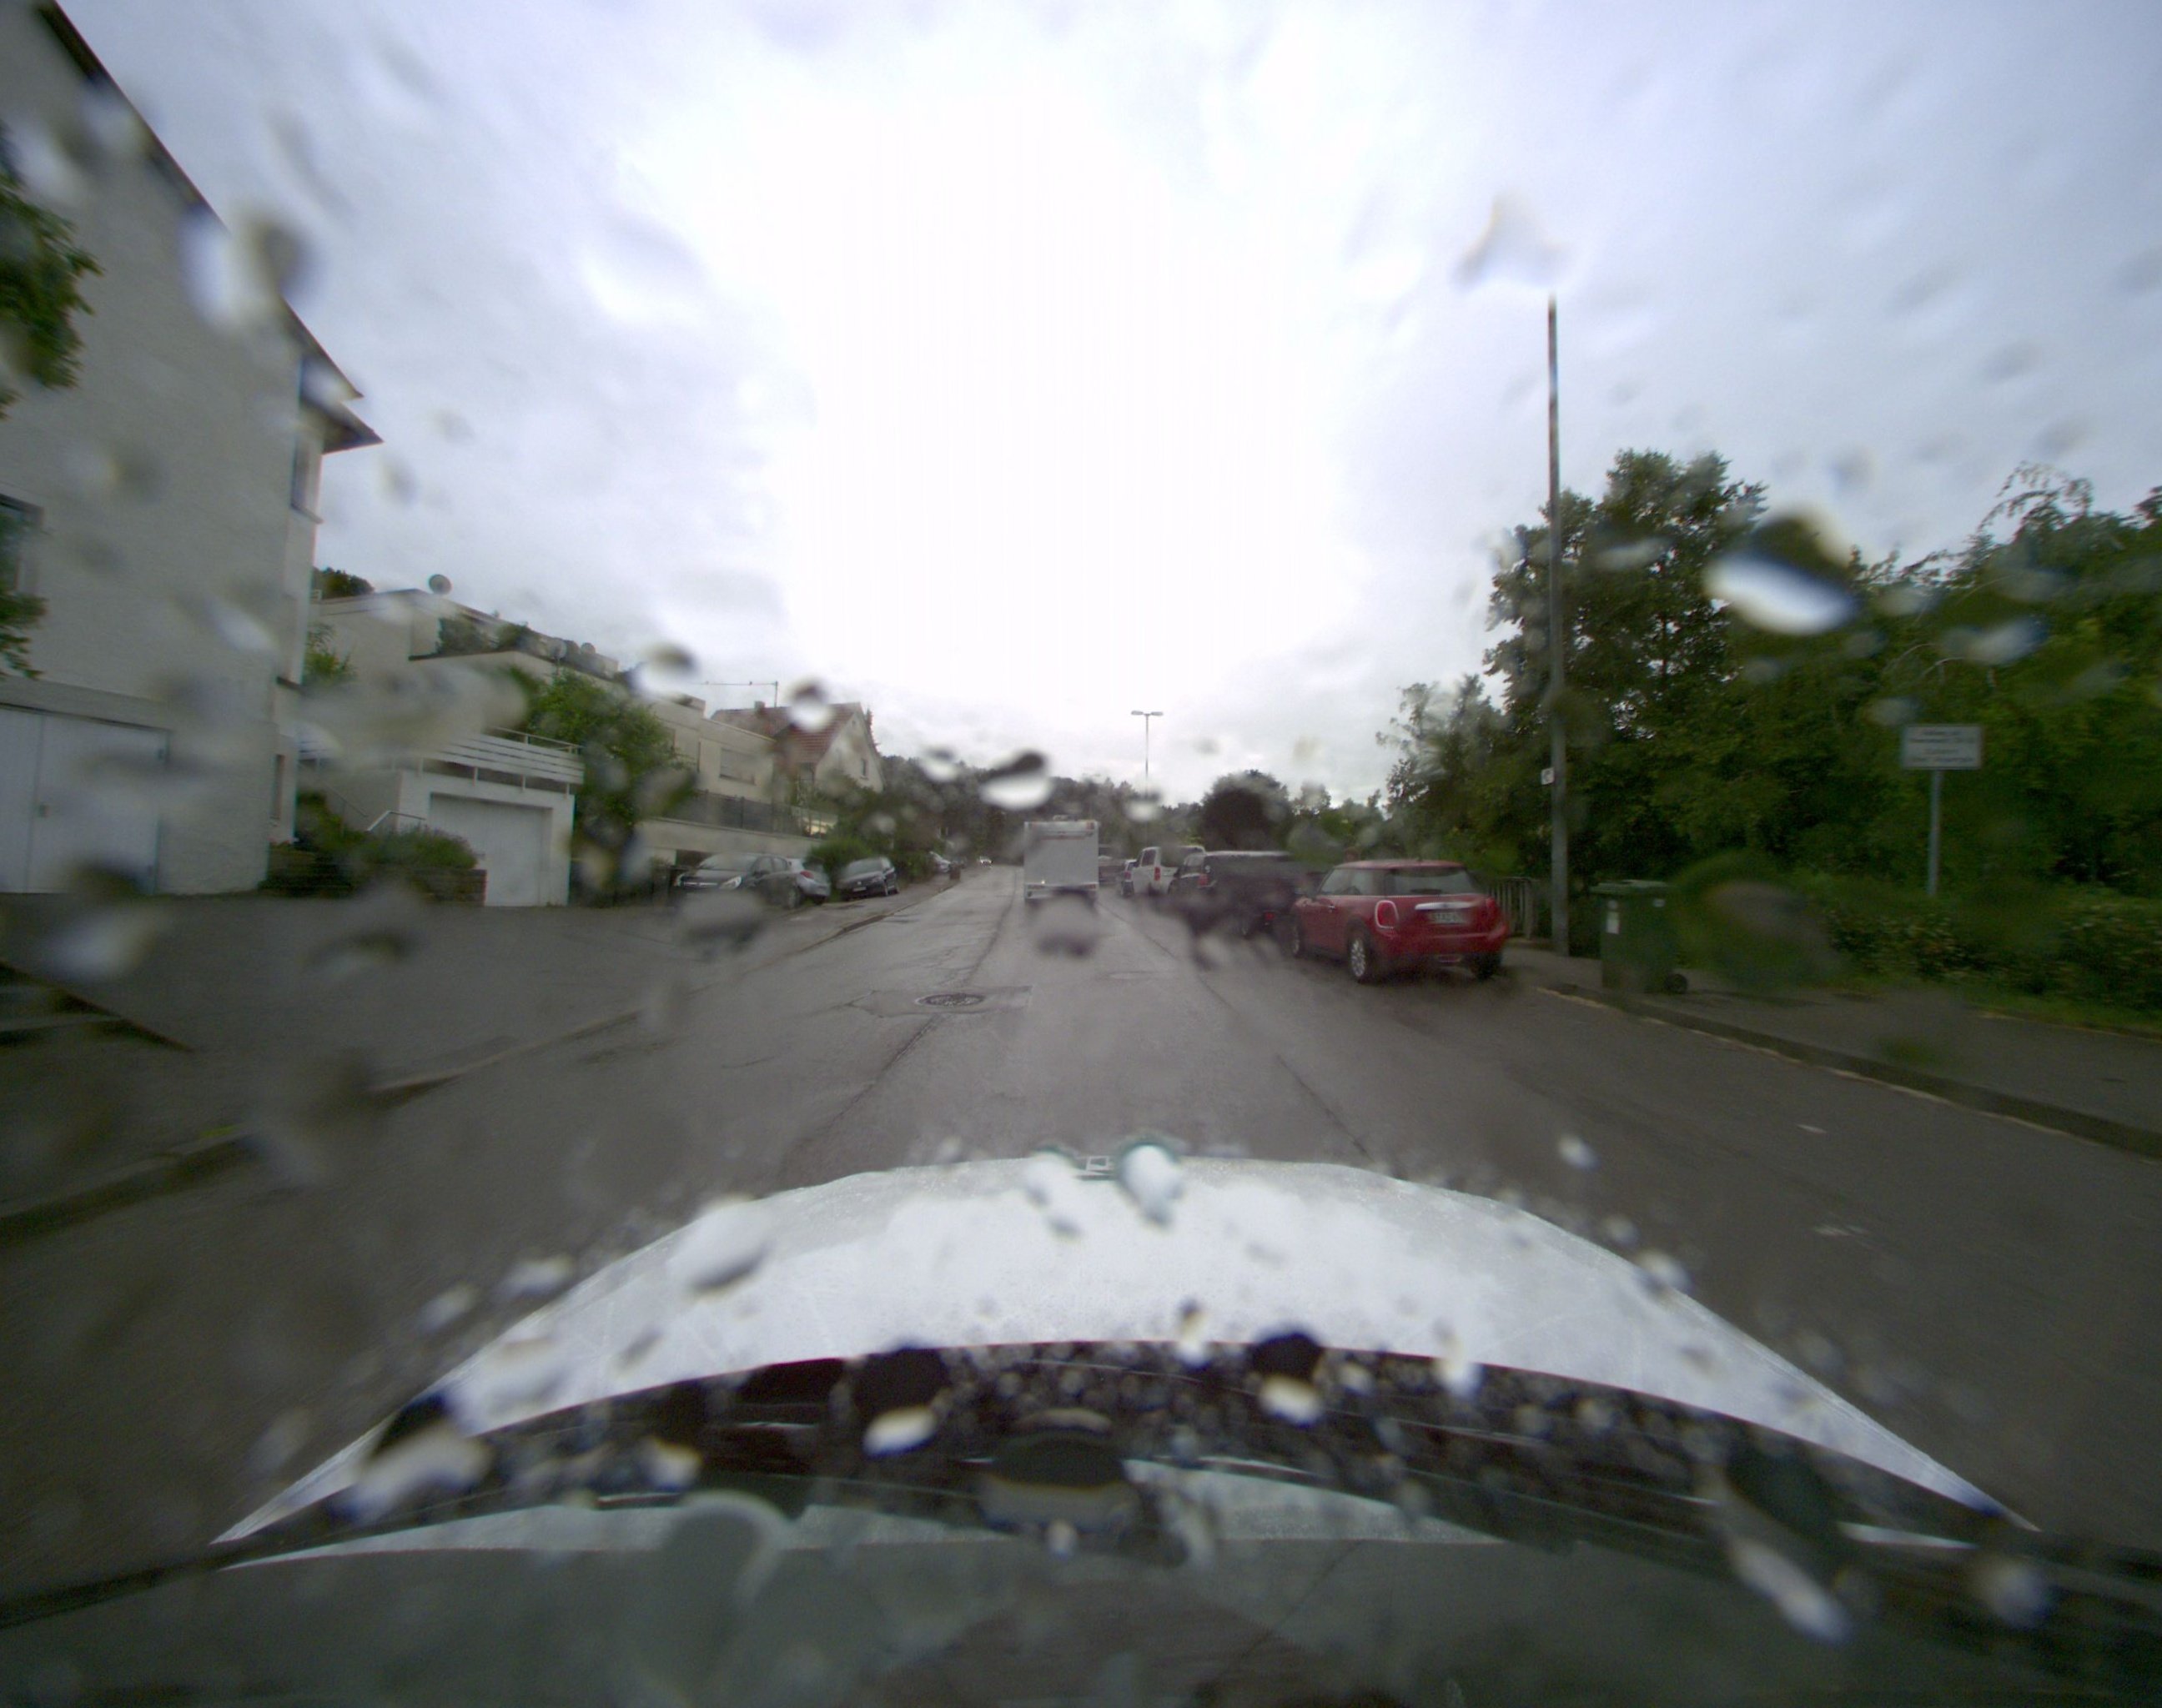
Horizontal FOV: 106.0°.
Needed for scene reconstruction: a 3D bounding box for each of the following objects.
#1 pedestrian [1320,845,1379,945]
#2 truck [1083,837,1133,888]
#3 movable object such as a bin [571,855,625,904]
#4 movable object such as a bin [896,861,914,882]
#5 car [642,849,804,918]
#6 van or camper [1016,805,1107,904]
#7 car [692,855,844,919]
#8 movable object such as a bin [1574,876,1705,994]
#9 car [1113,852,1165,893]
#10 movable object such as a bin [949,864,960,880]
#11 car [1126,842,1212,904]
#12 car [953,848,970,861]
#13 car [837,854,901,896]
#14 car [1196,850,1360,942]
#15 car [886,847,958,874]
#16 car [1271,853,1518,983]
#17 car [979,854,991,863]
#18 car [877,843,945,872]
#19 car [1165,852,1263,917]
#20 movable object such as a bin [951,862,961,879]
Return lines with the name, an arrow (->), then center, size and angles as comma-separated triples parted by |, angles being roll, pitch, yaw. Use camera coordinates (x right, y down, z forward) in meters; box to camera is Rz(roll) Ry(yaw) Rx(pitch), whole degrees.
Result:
pedestrian -> 4.498, 0.672, 13.666 | 0.715, 1.635, 0.706 | 0, -1, -3
truck -> 1.418, 0.484, 45.788 | 2.234, 2.631, 6.530 | -1, -1, -3
movable object such as a bin -> -10.788, 0.559, 18.211 | 0.745, 1.057, 0.703 | -1, -1, 11
movable object such as a bin -> -9.325, 0.923, 43.147 | 0.692, 1.083, 0.712 | -1, 0, 14
car -> -8.358, 0.648, 19.511 | 1.759, 1.376, 4.250 | 3, -1, 3
van or camper -> -0.765, 0.129, 26.965 | 2.611, 2.853, 6.021 | 1, -2, -4
car -> -9.462, 0.994, 24.764 | 3.803, 1.478, 1.808 | -7, -2, 10
movable object such as a bin -> 5.514, 0.772, 8.092 | 0.711, 1.093, 0.848 | 0, -1, 0
car -> 2.287, 0.727, 33.072 | 1.644, 1.563, 3.958 | -1, -1, -3
movable object such as a bin -> -7.644, 1.074, 49.291 | 0.602, 0.928, 0.562 | 1, -1, -9
car -> 2.843, 0.604, 27.493 | 1.847, 1.882, 4.899 | -1, -1, -7
car -> -14.471, 0.105, 98.731 | 1.630, 1.396, 4.232 | 4, -1, -4
car -> -8.693, 0.858, 33.795 | 1.800, 1.597, 4.410 | -1, -1, -5
car -> 3.631, 0.722, 15.934 | 1.812, 1.506, 4.718 | -1, -1, -3
car -> -12.427, 0.516, 63.915 | 5.051, 1.944, 2.148 | -1, -1, 11
car -> 3.940, 0.731, 10.982 | 1.731, 1.414, 3.848 | -1, -1, -2
car -> -16.818, 0.782, 142.803 | 1.904, 1.607, 4.418 | 1, 0, -6
car -> -11.628, 0.273, 55.908 | 4.031, 1.692, 1.898 | 4, -1, 8
car -> 3.403, 0.755, 21.611 | 1.641, 1.541, 4.348 | -1, -1, -3
movable object such as a bin -> -7.716, 1.020, 50.205 | 0.602, 1.064, 0.636 | 1, -1, -9
